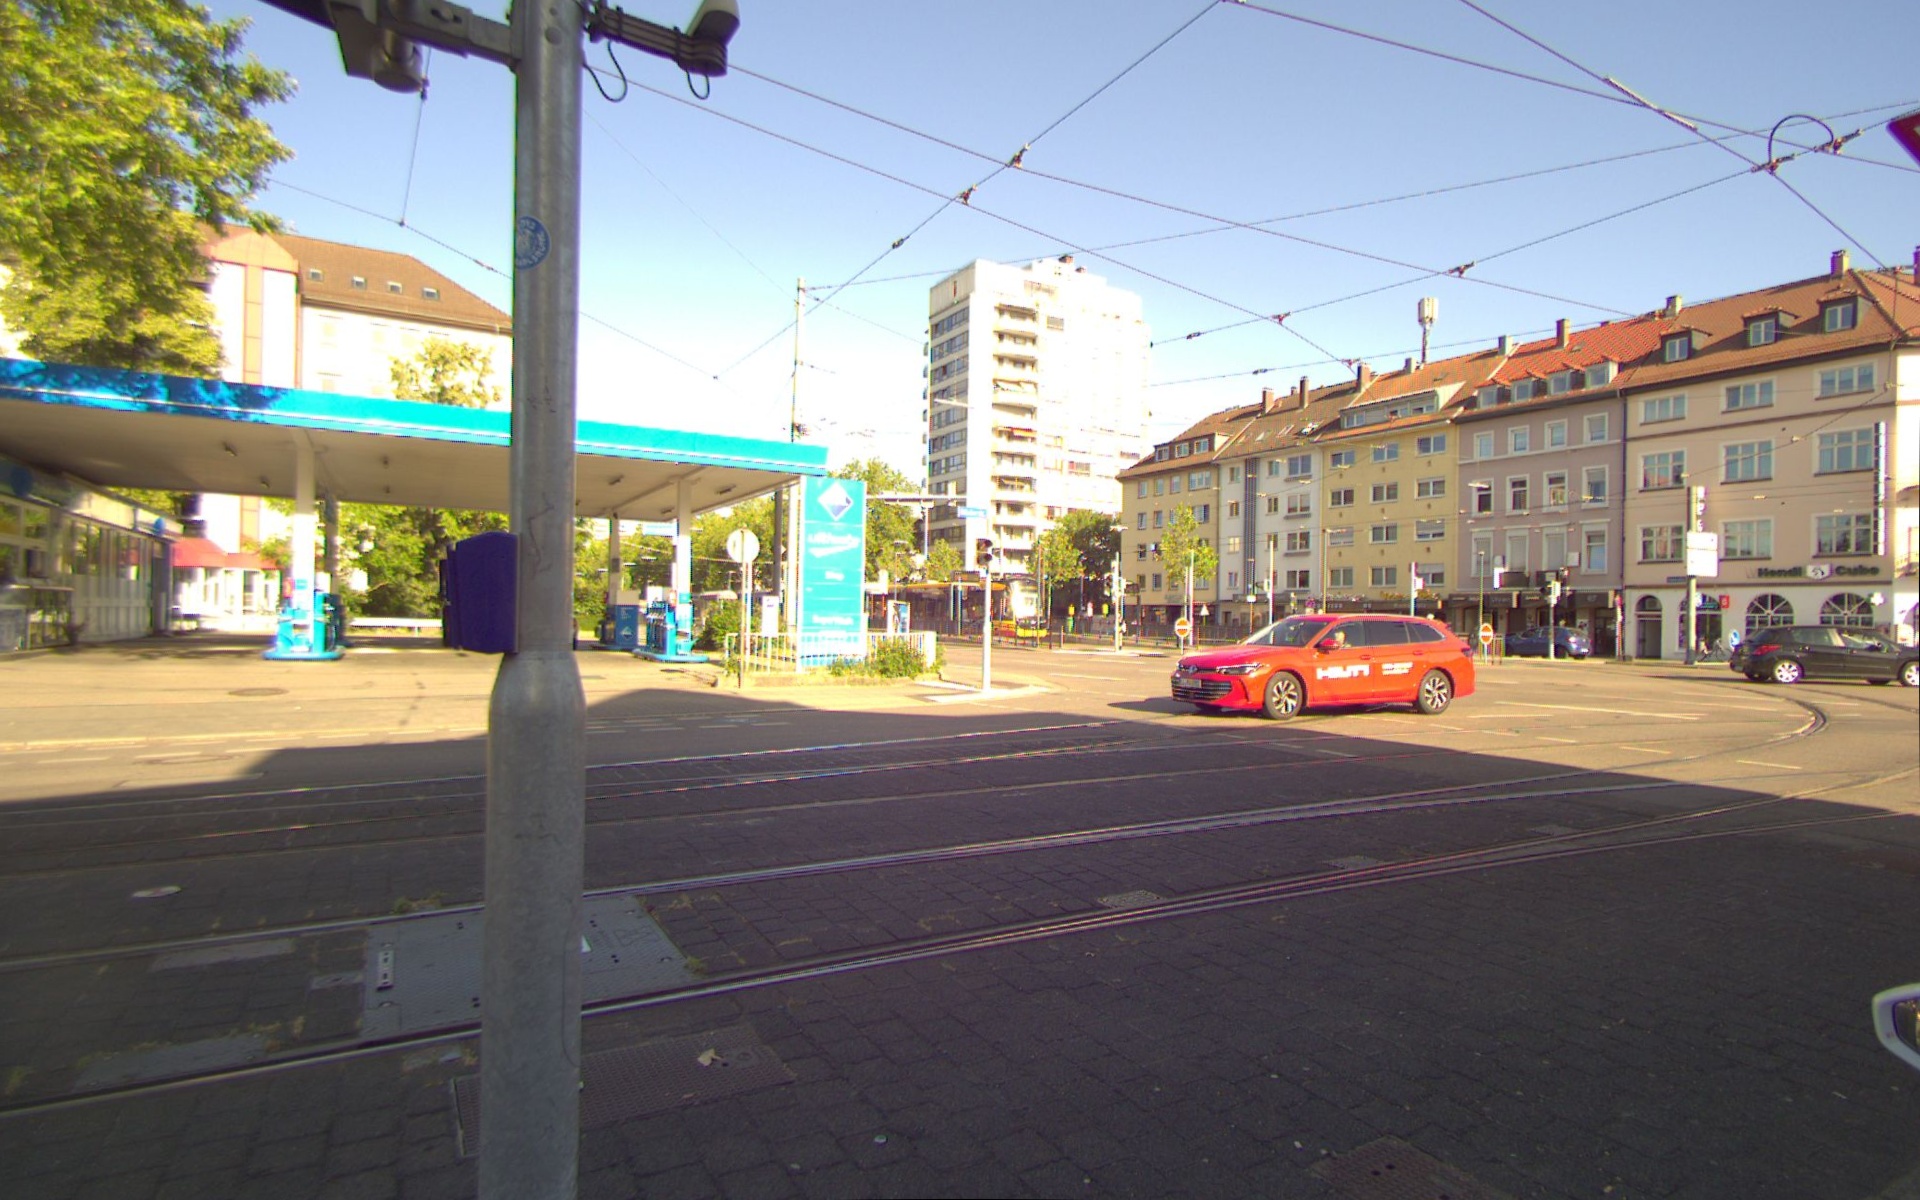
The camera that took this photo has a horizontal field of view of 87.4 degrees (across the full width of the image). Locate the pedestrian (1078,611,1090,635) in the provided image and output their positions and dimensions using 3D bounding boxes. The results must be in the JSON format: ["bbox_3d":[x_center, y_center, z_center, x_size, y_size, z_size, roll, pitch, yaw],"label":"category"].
[{"bbox_3d":[8.715,1.606,70.734,0.570,1.649,0.522,2,0,-31],"label":"pedestrian"}]

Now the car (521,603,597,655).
[{"bbox_3d":[-12.051,0.834,30.099,1.764,1.411,3.455,2,0,-28],"label":"car"}]

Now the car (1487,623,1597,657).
[{"bbox_3d":[26.996,1.820,46.690,1.980,1.394,3.961,2,0,-35],"label":"car"}]

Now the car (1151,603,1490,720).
[{"bbox_3d":[5.379,0.896,15.004,4.694,1.542,1.904,1,-2,-21],"label":"car"}]

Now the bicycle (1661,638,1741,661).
[{"bbox_3d":[37.500,2.492,50.896,0.989,0.993,3.115,2,0,-29],"label":"bicycle"}]

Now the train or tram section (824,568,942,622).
[{"bbox_3d":[-5.500,-0.342,68.044,2.751,3.273,12.286,2,0,-31],"label":"train or tram section"}]

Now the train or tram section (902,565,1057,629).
[{"bbox_3d":[0.742,-0.206,57.565,2.751,3.273,12.286,2,0,-31],"label":"train or tram section"}]

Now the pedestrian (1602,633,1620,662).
[{"bbox_3d":[33.850,2.480,52.233,0.460,1.496,0.629,2,0,-33],"label":"pedestrian"}]

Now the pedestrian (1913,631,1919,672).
[{"bbox_3d":[39.745,2.134,41.284,0.623,1.656,0.700,2,0,24],"label":"pedestrian"}]

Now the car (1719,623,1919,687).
[{"bbox_3d":[21.764,1.350,25.337,3.779,1.380,1.760,2,0,19],"label":"car"}]

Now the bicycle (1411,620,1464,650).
[{"bbox_3d":[18.460,1.364,38.847,1.759,1.084,0.575,2,0,1],"label":"bicycle"}]

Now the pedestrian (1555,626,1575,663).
[{"bbox_3d":[27.246,1.986,45.232,0.461,1.633,0.628,2,0,-36],"label":"pedestrian"}]

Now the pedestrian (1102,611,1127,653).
[{"bbox_3d":[6.241,1.304,40.634,0.675,1.656,0.694,2,0,-35],"label":"pedestrian"}]

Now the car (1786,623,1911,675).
[{"bbox_3d":[31.320,1.666,35.576,1.915,1.639,4.178,2,0,21],"label":"car"}]

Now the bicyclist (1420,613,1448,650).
[{"bbox_3d":[18.292,1.202,38.808,0.787,1.384,0.560,2,0,2],"label":"bicyclist"}]
